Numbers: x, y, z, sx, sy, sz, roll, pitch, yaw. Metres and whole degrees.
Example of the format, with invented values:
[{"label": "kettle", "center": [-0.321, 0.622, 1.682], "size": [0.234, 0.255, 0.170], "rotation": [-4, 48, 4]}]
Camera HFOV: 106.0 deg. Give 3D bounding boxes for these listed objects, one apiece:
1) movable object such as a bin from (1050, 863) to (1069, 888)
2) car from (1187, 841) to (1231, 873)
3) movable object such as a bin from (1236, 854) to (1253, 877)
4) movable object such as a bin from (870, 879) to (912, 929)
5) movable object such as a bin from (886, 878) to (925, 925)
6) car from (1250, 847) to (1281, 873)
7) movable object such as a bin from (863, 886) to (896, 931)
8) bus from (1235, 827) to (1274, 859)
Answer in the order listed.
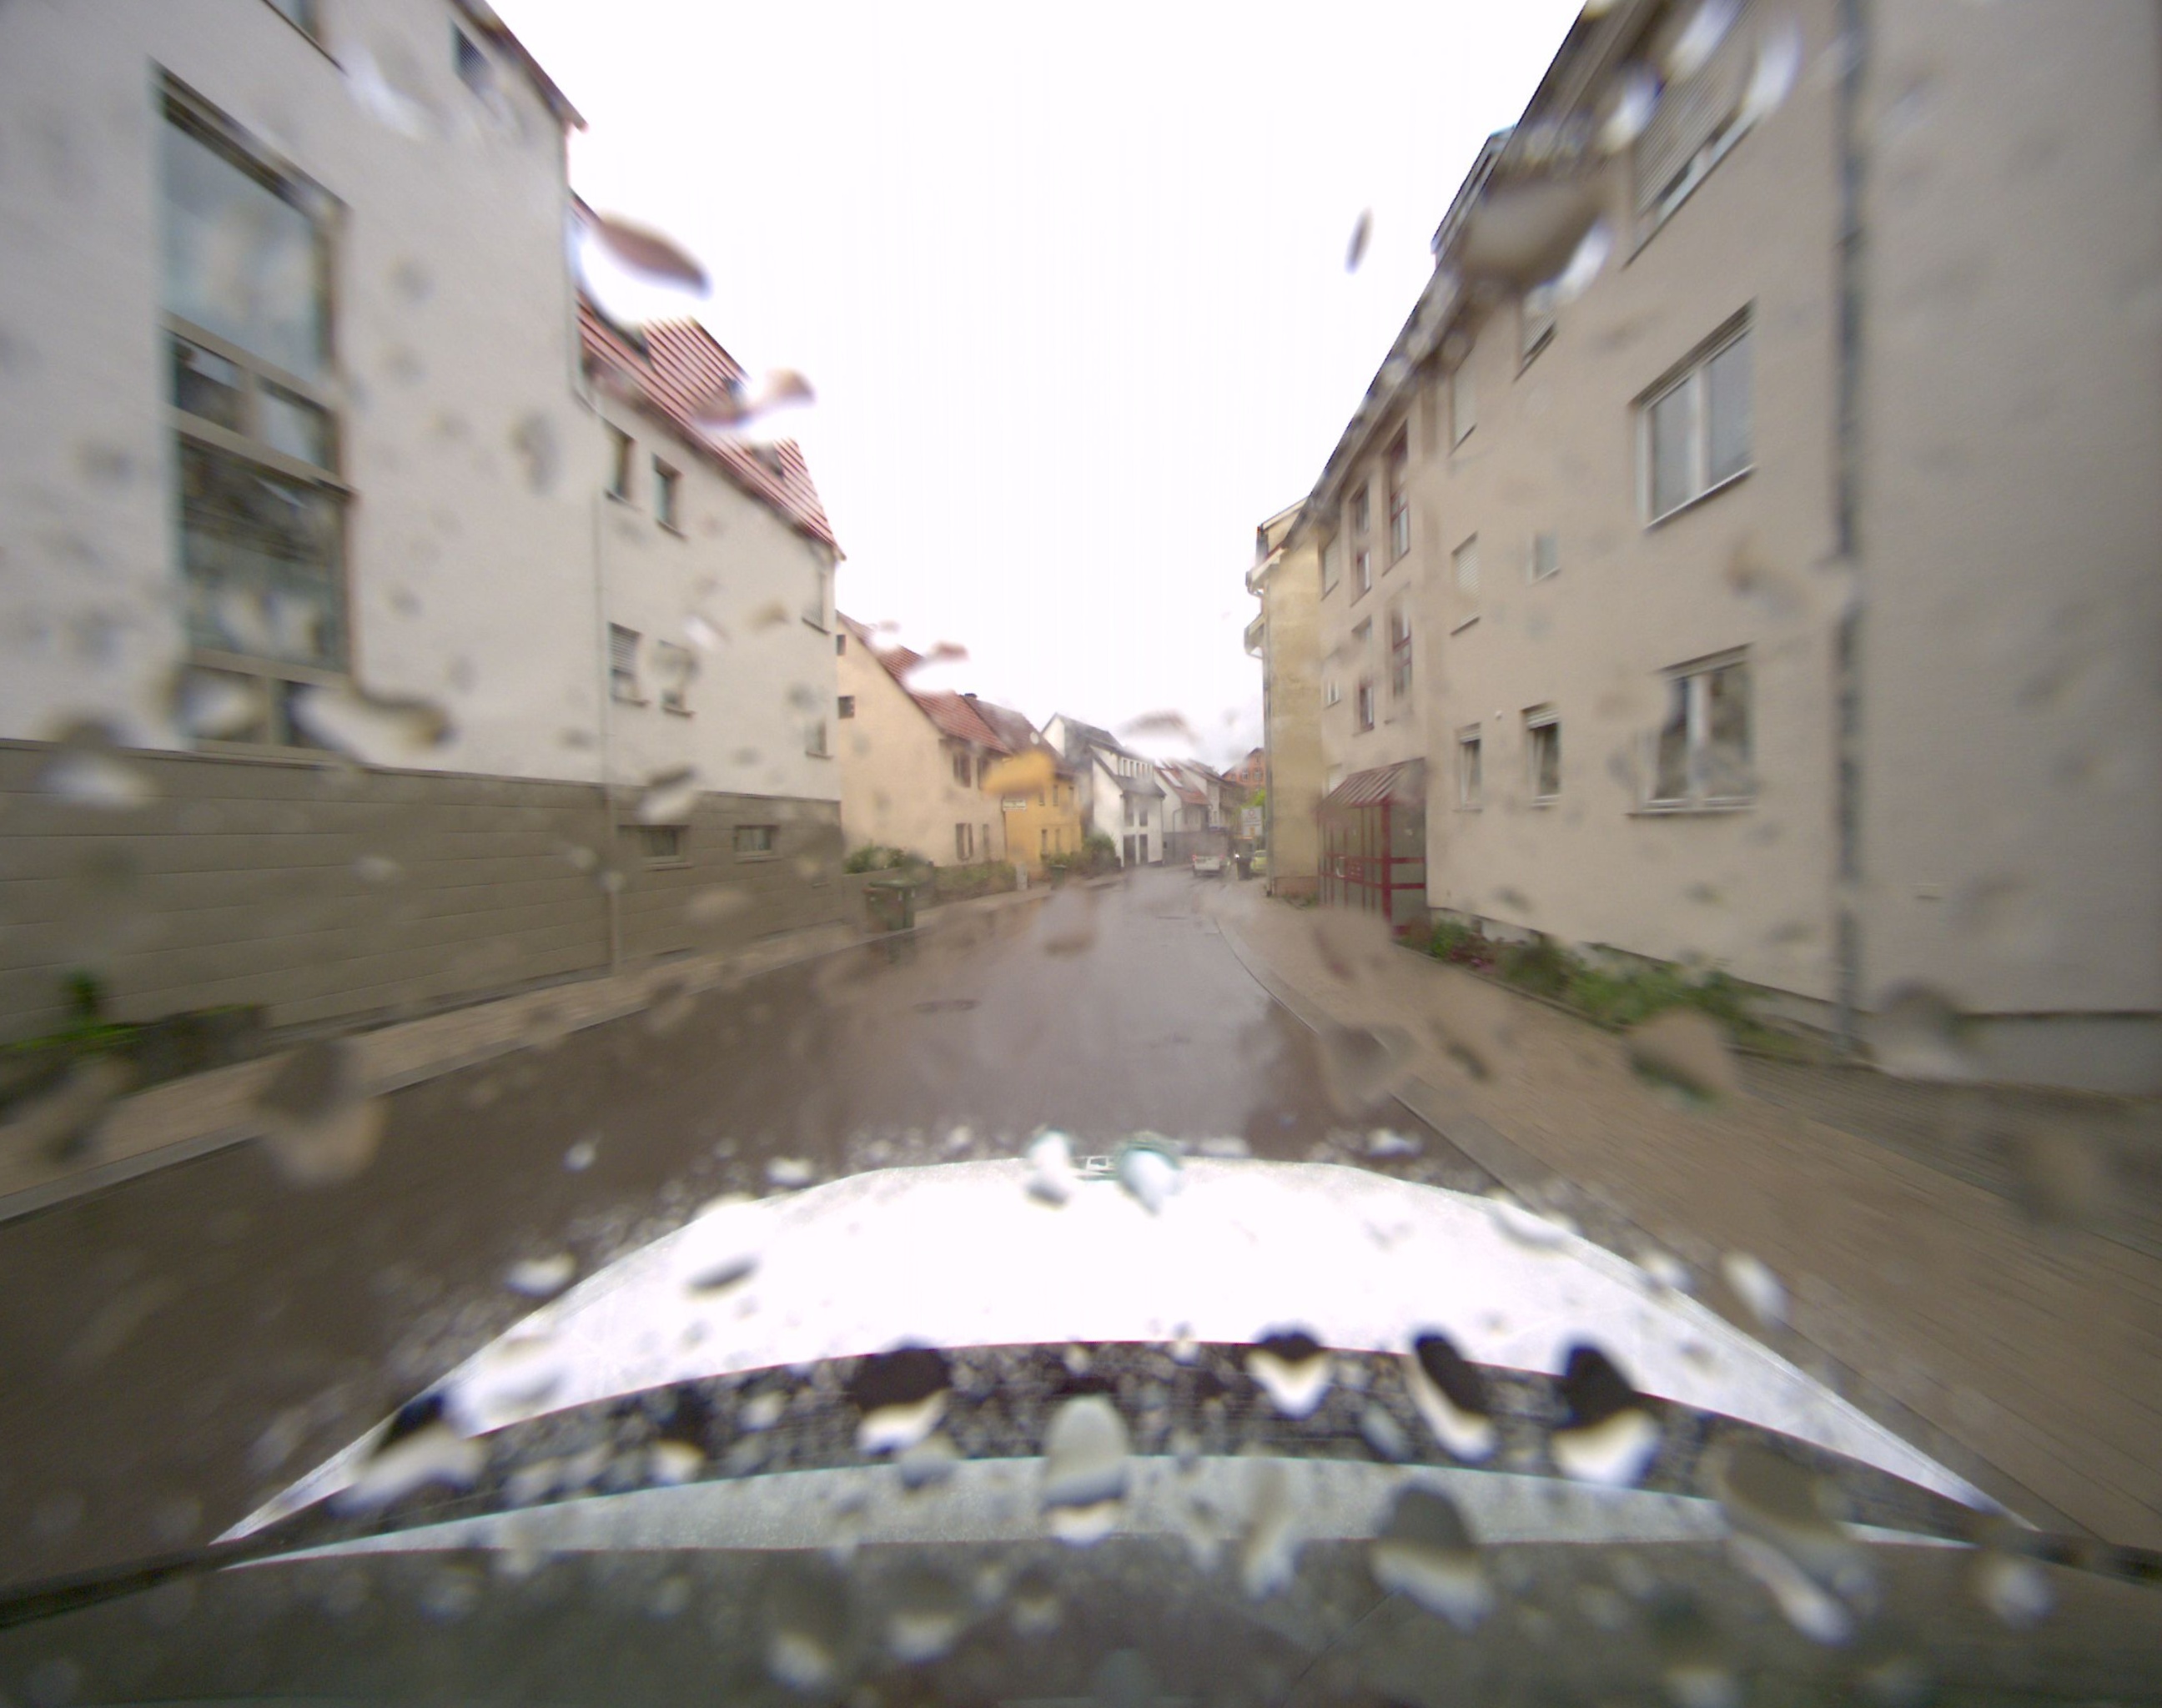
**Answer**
[{"label": "movable object such as a bin", "center": [-0.920, 0.926, 35.298], "size": [0.655, 1.056, 0.766], "rotation": [1, 0, 10]}, {"label": "car", "center": [7.975, 0.166, 50.505], "size": [2.178, 1.851, 4.322], "rotation": [-2, 0, 15]}, {"label": "movable object such as a bin", "center": [8.458, 0.599, 42.005], "size": [0.761, 1.173, 1.547], "rotation": [-1, 0, 15]}, {"label": "movable object such as a bin", "center": [-4.184, 1.094, 17.968], "size": [0.677, 1.066, 0.696], "rotation": [0, 0, 9]}, {"label": "movable object such as a bin", "center": [-4.013, 1.077, 18.685], "size": [0.677, 1.045, 0.663], "rotation": [0, 0, 9]}, {"label": "car", "center": [11.569, 0.341, 50.894], "size": [1.590, 1.484, 3.316], "rotation": [-3, 0, 17]}, {"label": "movable object such as a bin", "center": [-4.263, 1.152, 17.289], "size": [0.503, 0.922, 0.580], "rotation": [0, 0, 6]}, {"label": "bus", "center": [19.231, -1.283, 89.738], "size": [2.716, 3.129, 9.284], "rotation": [-1, 2, 21]}]
